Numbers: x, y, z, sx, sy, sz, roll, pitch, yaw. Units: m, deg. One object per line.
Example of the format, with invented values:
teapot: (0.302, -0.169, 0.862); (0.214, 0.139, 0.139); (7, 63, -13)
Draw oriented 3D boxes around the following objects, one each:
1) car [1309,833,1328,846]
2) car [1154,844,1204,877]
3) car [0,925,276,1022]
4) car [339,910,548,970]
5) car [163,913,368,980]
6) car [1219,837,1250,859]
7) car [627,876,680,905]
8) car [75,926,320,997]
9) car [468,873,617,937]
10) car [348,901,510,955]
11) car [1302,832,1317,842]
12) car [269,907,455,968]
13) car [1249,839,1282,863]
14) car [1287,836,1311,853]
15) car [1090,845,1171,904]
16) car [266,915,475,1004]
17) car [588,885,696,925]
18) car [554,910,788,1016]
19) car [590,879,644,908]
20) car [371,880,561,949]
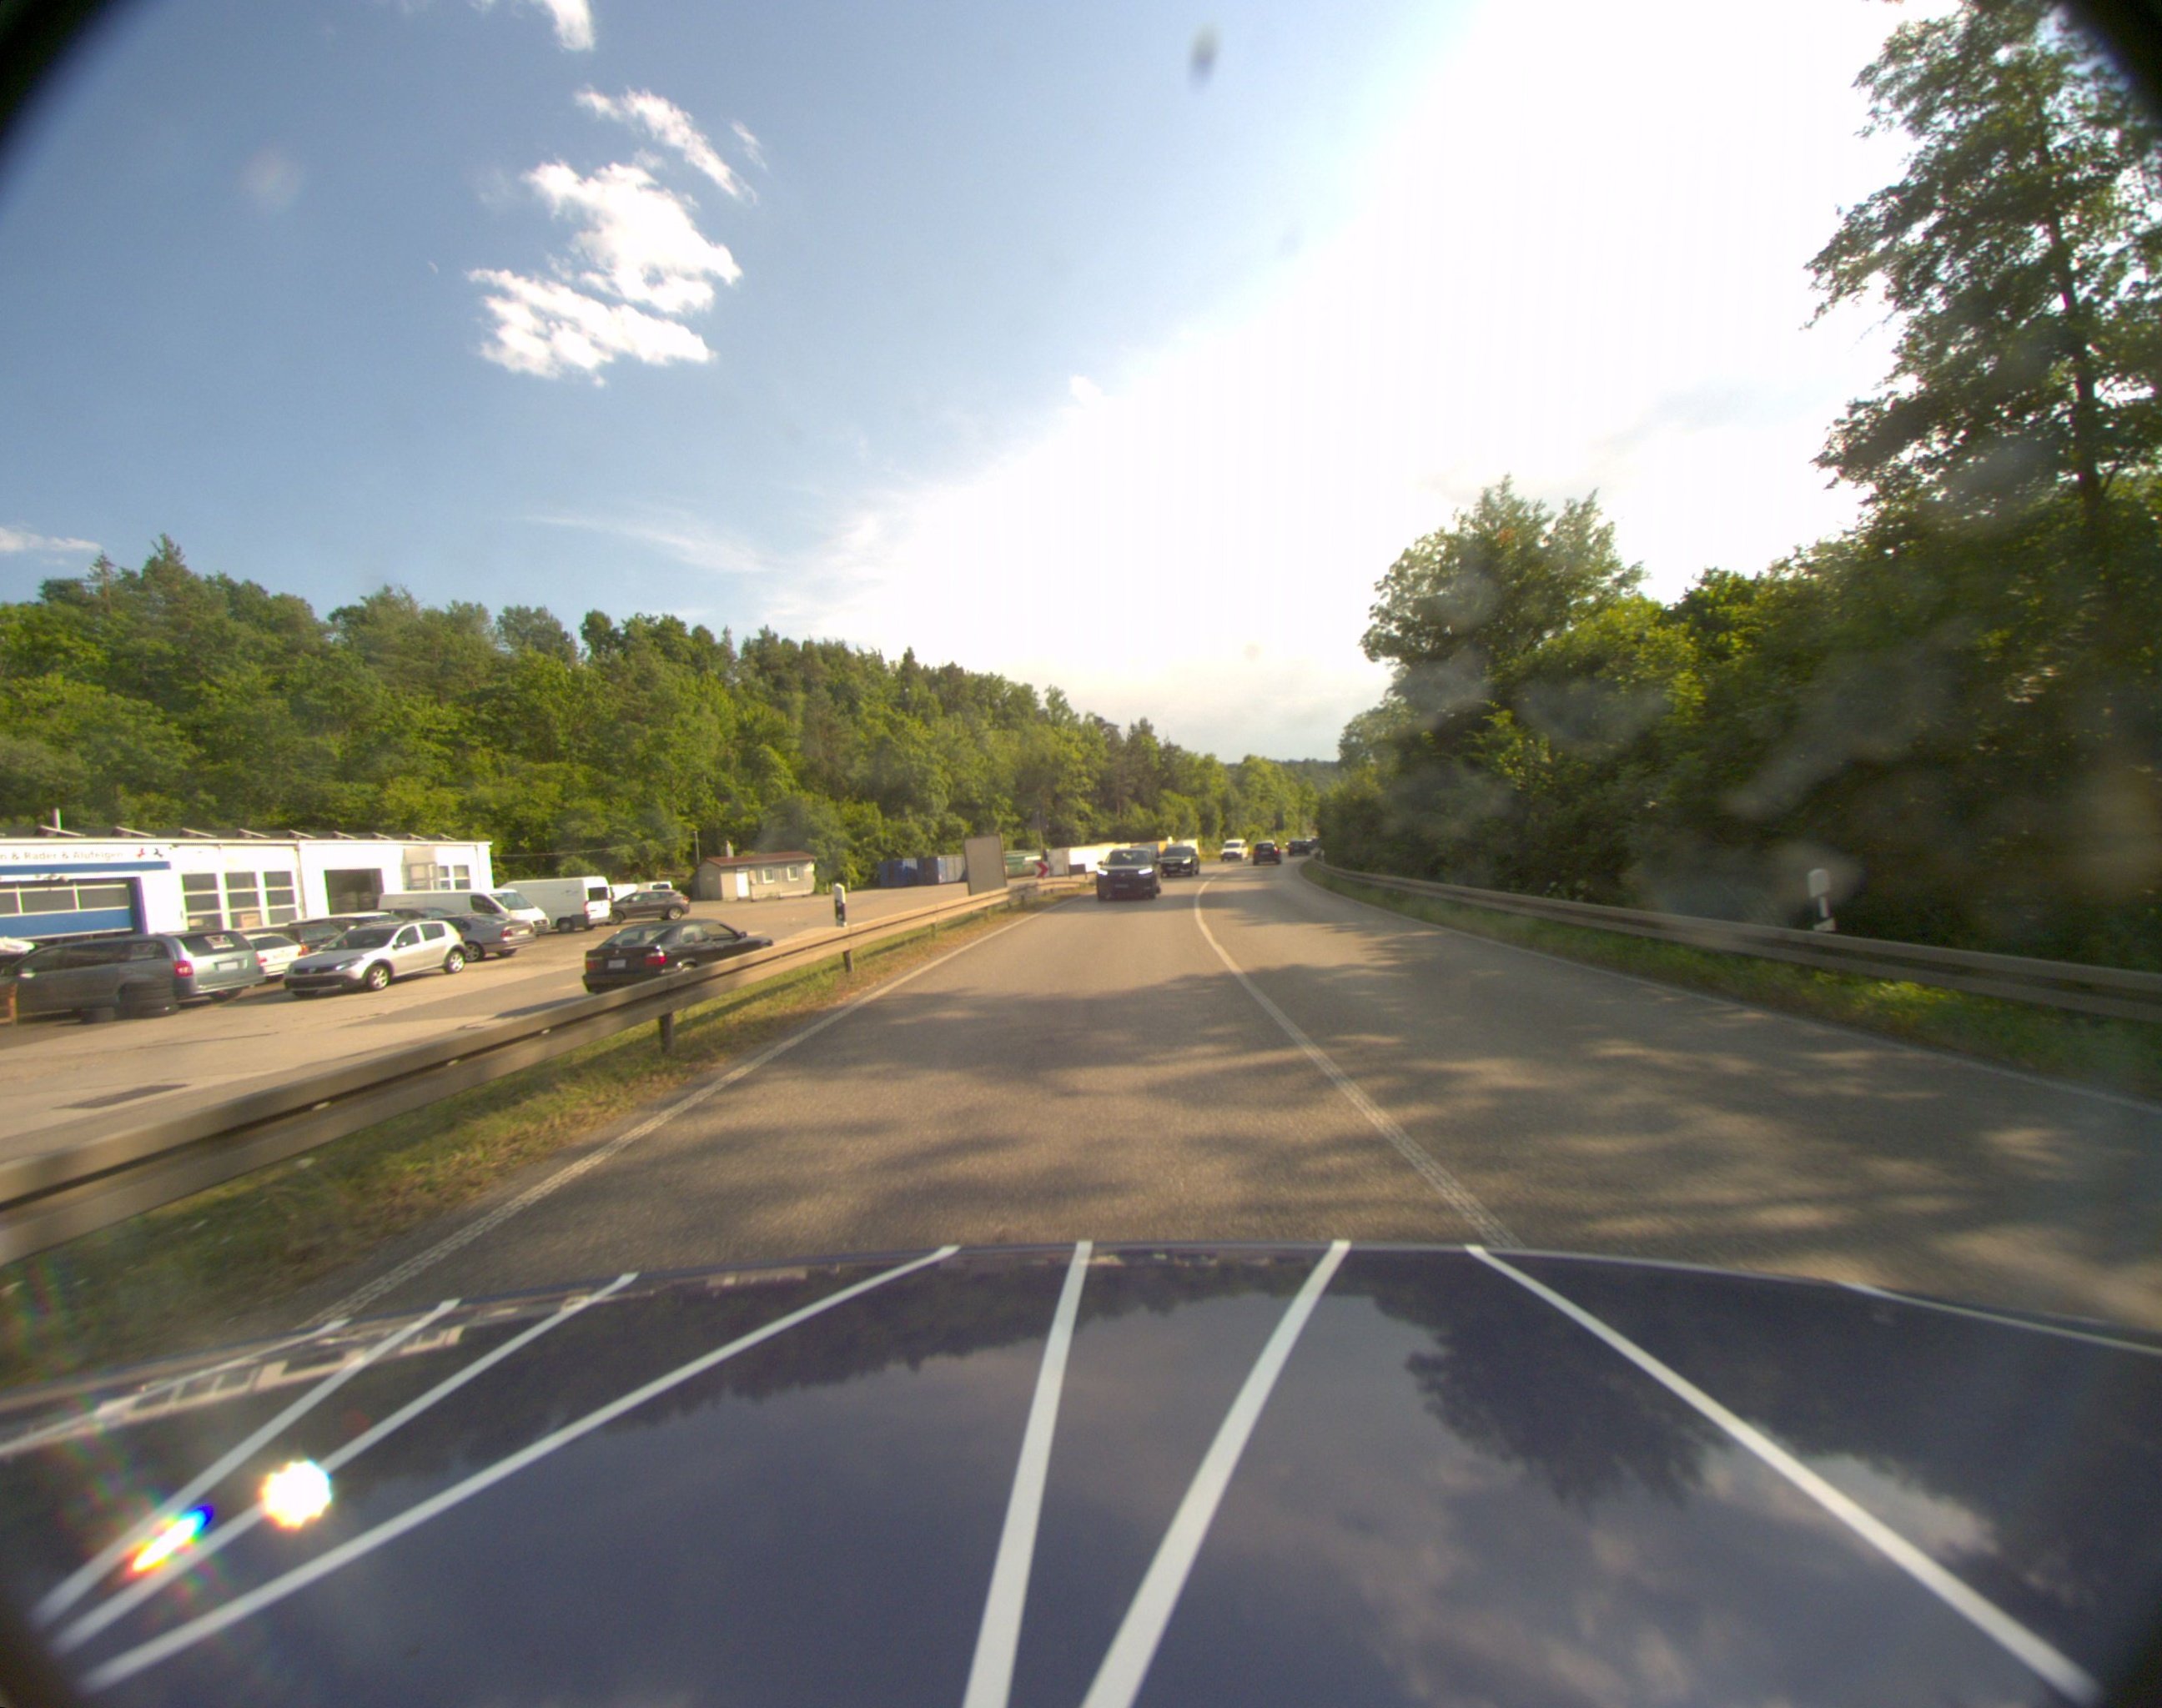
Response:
car: (28.774, -1.763, 91.943); (1.662, 1.437, 3.927); (-2, 1, 25)
car: (5.316, 0.307, 40.745); (1.846, 1.561, 4.262); (-2, 1, 18)
car: (-21.799, 2.696, 17.466); (4.260, 1.719, 1.891); (-2, 1, -6)
car: (-19.928, 2.653, 23.953); (4.733, 1.425, 1.956); (-2, 1, -5)
car: (-24.687, 2.773, 23.132); (3.998, 1.601, 1.894); (-2, 1, -3)
car: (13.223, -0.537, 65.395); (1.865, 1.710, 4.769); (-4, 1, 19)
car: (-34.088, 2.943, 60.531); (4.548, 2.002, 2.003); (-4, 1, 39)
car: (-23.753, 2.870, 20.589); (4.157, 1.453, 1.869); (-2, 1, -5)
car: (-24.145, 2.254, 34.272); (4.922, 2.435, 2.207); (-3, 1, -5)
car: (-24.041, 2.709, 28.164); (4.170, 1.601, 1.924); (-2, 1, -3)
car: (38.350, -2.898, 127.469); (1.913, 1.457, 4.543); (-5, 1, 23)
car: (-24.183, 2.780, 25.685); (4.252, 1.601, 1.894); (-3, 1, -3)
car: (12.839, -0.244, 52.716); (1.870, 1.580, 4.253); (-1, 1, 17)
car: (20.638, -0.937, 71.830); (1.852, 1.499, 4.408); (-1, 2, 20)
car: (1.751, 0.597, 25.255); (1.858, 1.631, 4.444); (-3, 1, 14)
car: (-17.802, 2.559, 19.338); (1.795, 1.587, 3.986); (-3, 1, -7)
car: (-22.386, 2.558, 38.842); (4.413, 1.660, 1.938); (-2, -1, -44)
car: (-7.749, 1.995, 14.942); (1.828, 1.345, 4.274); (-4, 0, 7)
car: (-35.719, 3.049, 58.517); (4.087, 2.002, 2.003); (-4, 1, 36)
car: (-24.456, 2.373, 30.437); (5.489, 2.261, 2.294); (-3, 1, -3)
